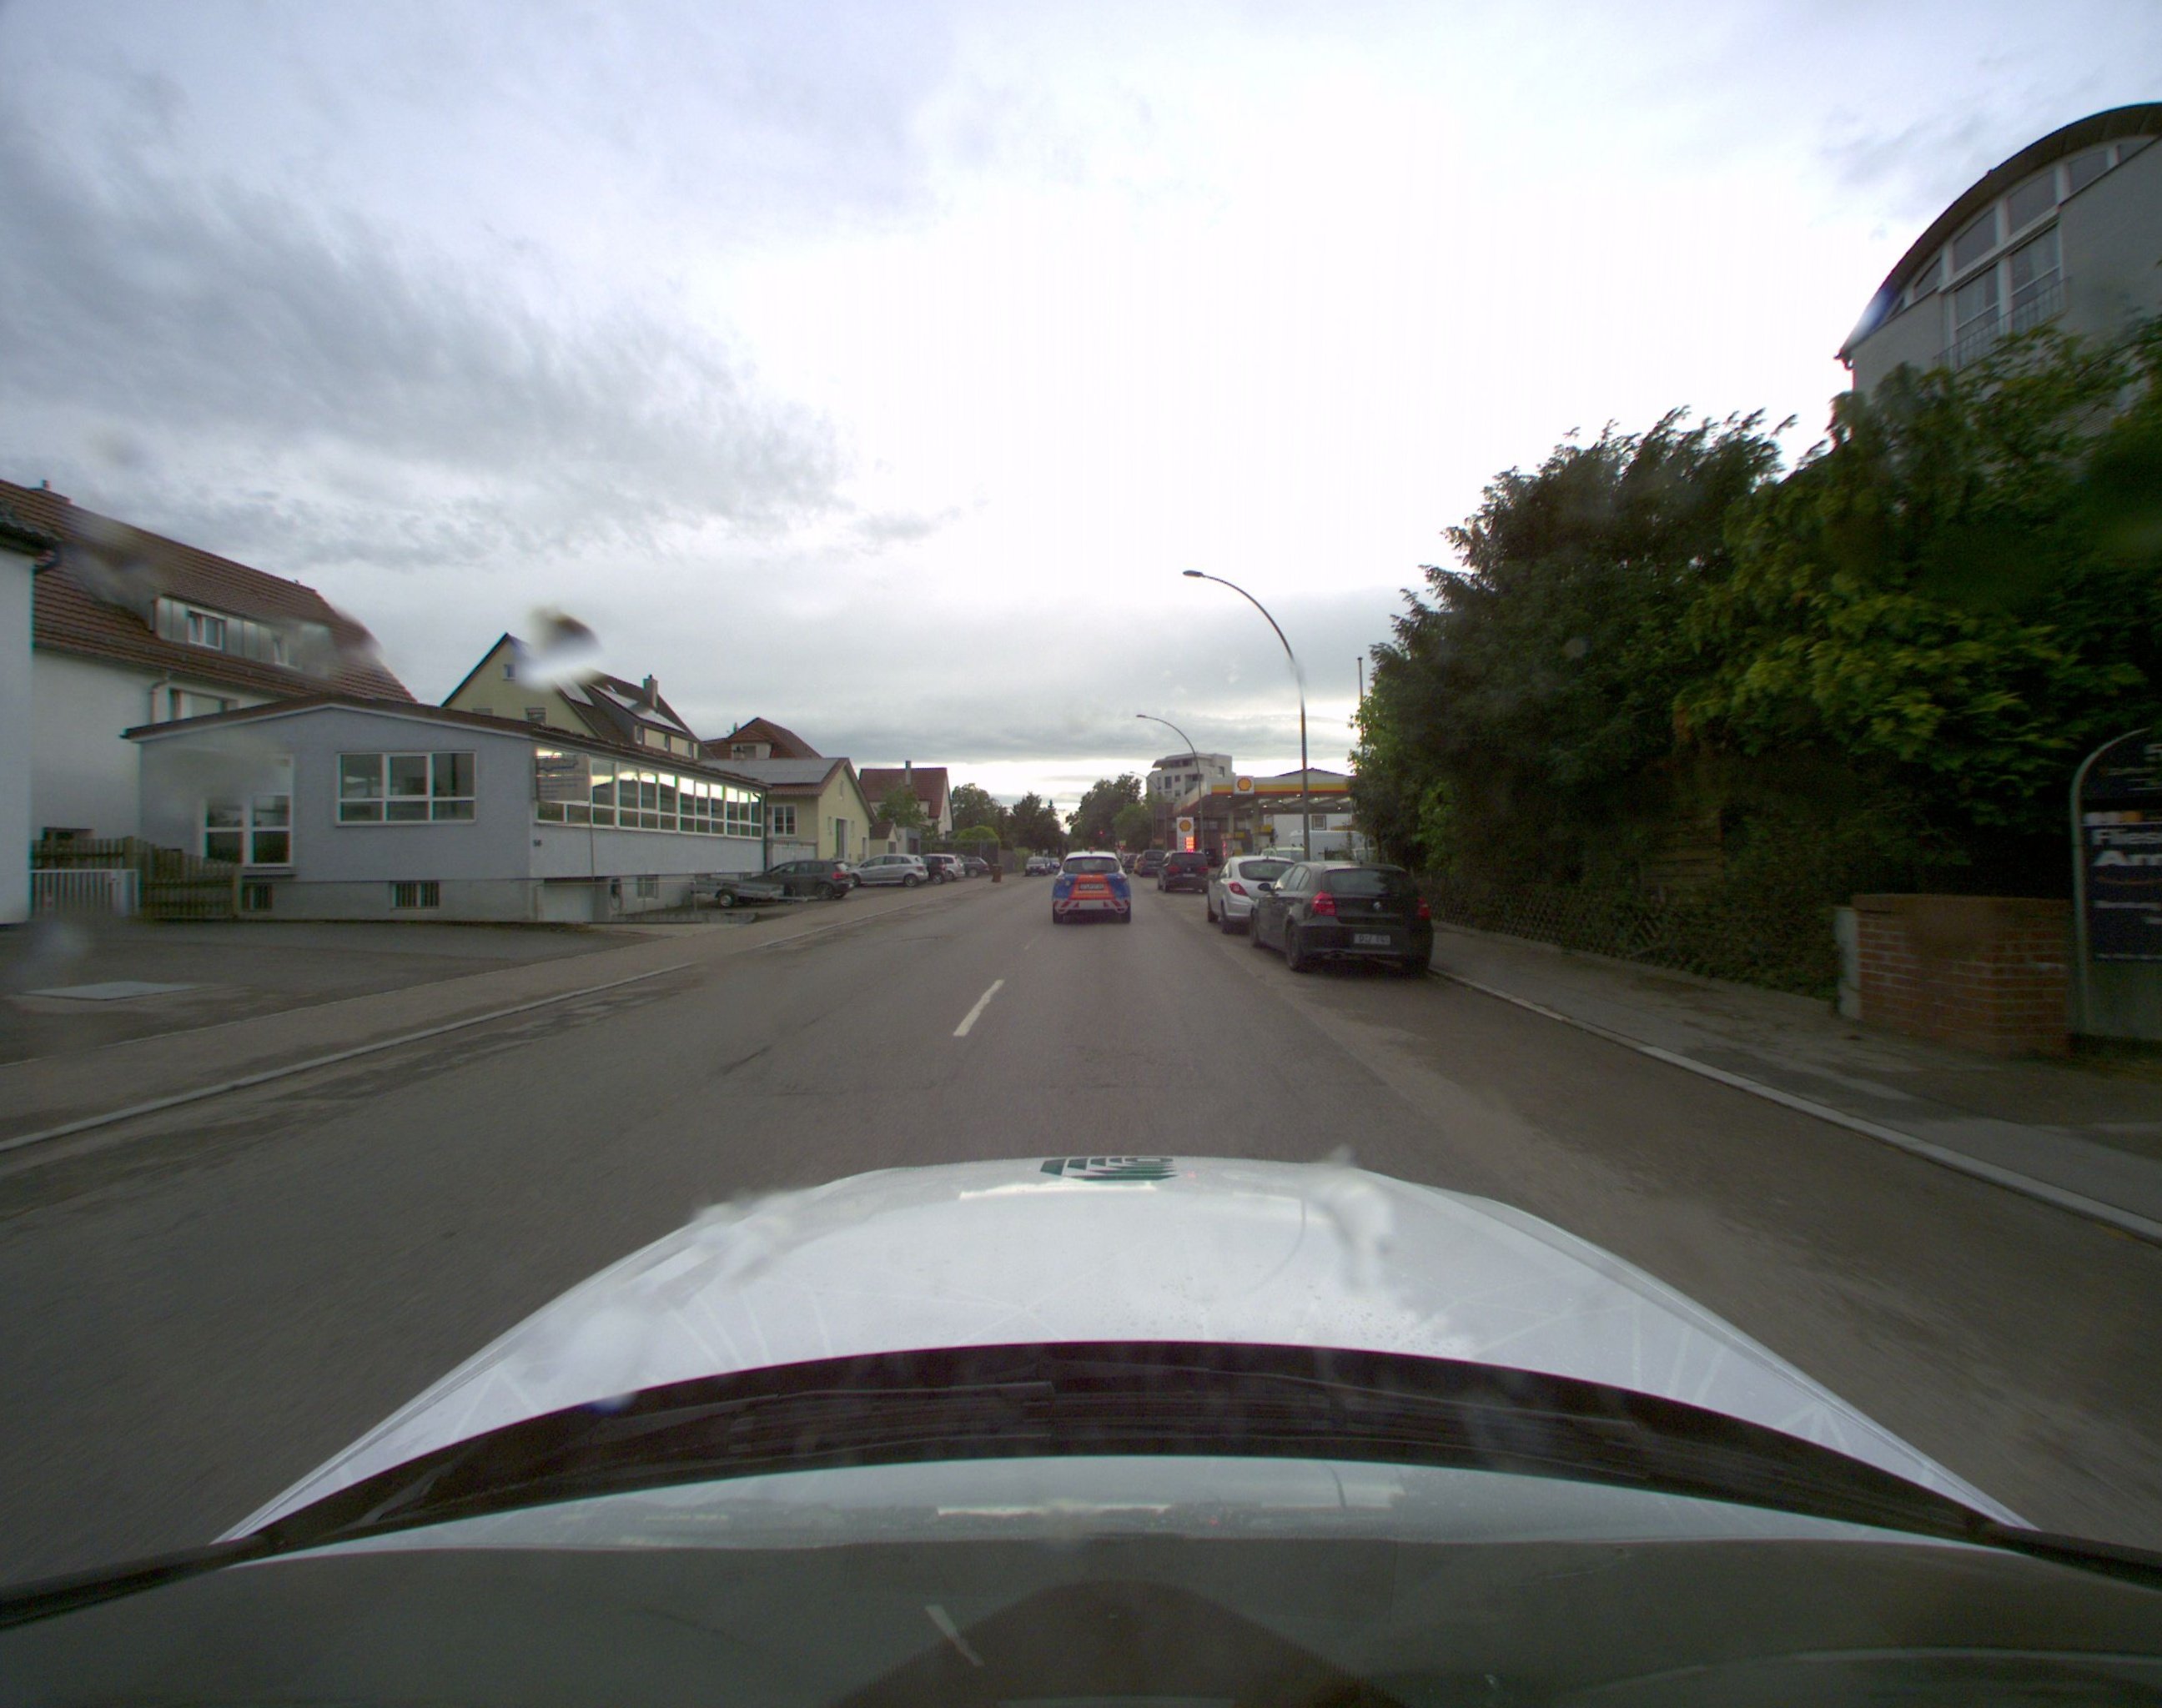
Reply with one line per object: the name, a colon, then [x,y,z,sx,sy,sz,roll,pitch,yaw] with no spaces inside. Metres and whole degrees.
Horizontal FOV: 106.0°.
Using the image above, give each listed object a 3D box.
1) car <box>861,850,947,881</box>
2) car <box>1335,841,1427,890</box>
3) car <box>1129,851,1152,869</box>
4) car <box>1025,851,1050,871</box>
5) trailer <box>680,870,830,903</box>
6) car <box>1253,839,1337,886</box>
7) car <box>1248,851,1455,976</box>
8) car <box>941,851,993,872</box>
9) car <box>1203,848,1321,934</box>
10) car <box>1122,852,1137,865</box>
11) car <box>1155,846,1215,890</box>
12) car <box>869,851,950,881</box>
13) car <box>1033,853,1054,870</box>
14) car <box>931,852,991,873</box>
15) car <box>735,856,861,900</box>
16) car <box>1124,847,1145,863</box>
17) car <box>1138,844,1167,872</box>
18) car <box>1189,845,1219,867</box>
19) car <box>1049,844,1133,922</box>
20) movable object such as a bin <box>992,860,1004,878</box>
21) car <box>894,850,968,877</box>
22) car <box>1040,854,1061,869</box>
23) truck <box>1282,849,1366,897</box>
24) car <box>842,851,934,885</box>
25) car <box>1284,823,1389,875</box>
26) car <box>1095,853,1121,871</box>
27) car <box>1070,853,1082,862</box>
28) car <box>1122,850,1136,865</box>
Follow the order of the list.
car: [-9.183,0.594,42.412,4.074,1.532,1.812,-1,0,-3]
car: [10.717,0.369,29.335,1.743,1.519,3.729,-4,0,-2]
car: [4.688,0.463,64.482,1.650,1.402,3.802,-1,0,1]
car: [-3.463,0.572,65.052,1.602,1.506,3.709,-2,0,2]
trailer: [-10.688,1.047,26.891,4.184,0.943,1.794,-1,0,-1]
car: [8.076,0.291,31.127,1.989,1.683,3.996,-1,0,-3]
car: [3.537,0.689,11.369,1.731,1.403,3.720,1,1,2]
car: [-8.232,0.564,59.250,3.577,1.457,1.755,1,0,-4]
car: [3.525,0.643,16.505,1.730,1.502,3.885,1,1,3]
car: [6.350,0.541,107.561,1.859,1.665,4.321,0,0,1]
car: [4.105,0.507,32.714,1.986,1.596,4.002,-1,0,2]
car: [-9.296,0.642,44.353,4.076,1.503,1.754,-1,0,-5]
car: [-3.306,0.665,73.188,1.540,1.403,3.599,-2,0,2]
car: [-8.254,0.587,56.330,4.079,1.414,1.710,0,0,-7]
car: [-10.153,0.832,29.433,3.860,1.438,1.768,-1,0,0]
car: [5.632,0.089,86.404,2.083,1.662,4.561,0,1,2]
car: [4.752,0.253,54.642,1.650,1.738,4.446,2,0,1]
car: [10.075,0.173,66.954,1.814,1.759,3.998,-1,0,-1]
car: [0.271,0.592,19.082,1.739,1.581,4.002,-1,0,2]
movable object such as a bin: [-5.111,0.919,50.276,0.593,1.057,0.687,4,2,2]
car: [-8.861,0.553,48.250,4.076,1.513,1.880,-1,0,-5]
car: [-3.087,0.737,83.392,1.800,1.403,3.946,-2,0,2]
truck: [8.108,0.615,27.315,2.540,1.530,1.330,0,0,9]
car: [-9.456,0.656,40.118,4.076,1.532,1.997,-1,0,-5]
car: [13.064,-0.261,41.666,4.805,2.520,2.232,-1,0,-21]
car: [2.554,0.685,75.613,1.982,1.574,4.010,1,1,8]
car: [-0.833,0.517,129.839,1.619,1.433,3.687,-1,0,3]
car: [6.692,0.483,113.556,1.770,2.029,4.760,0,1,4]
